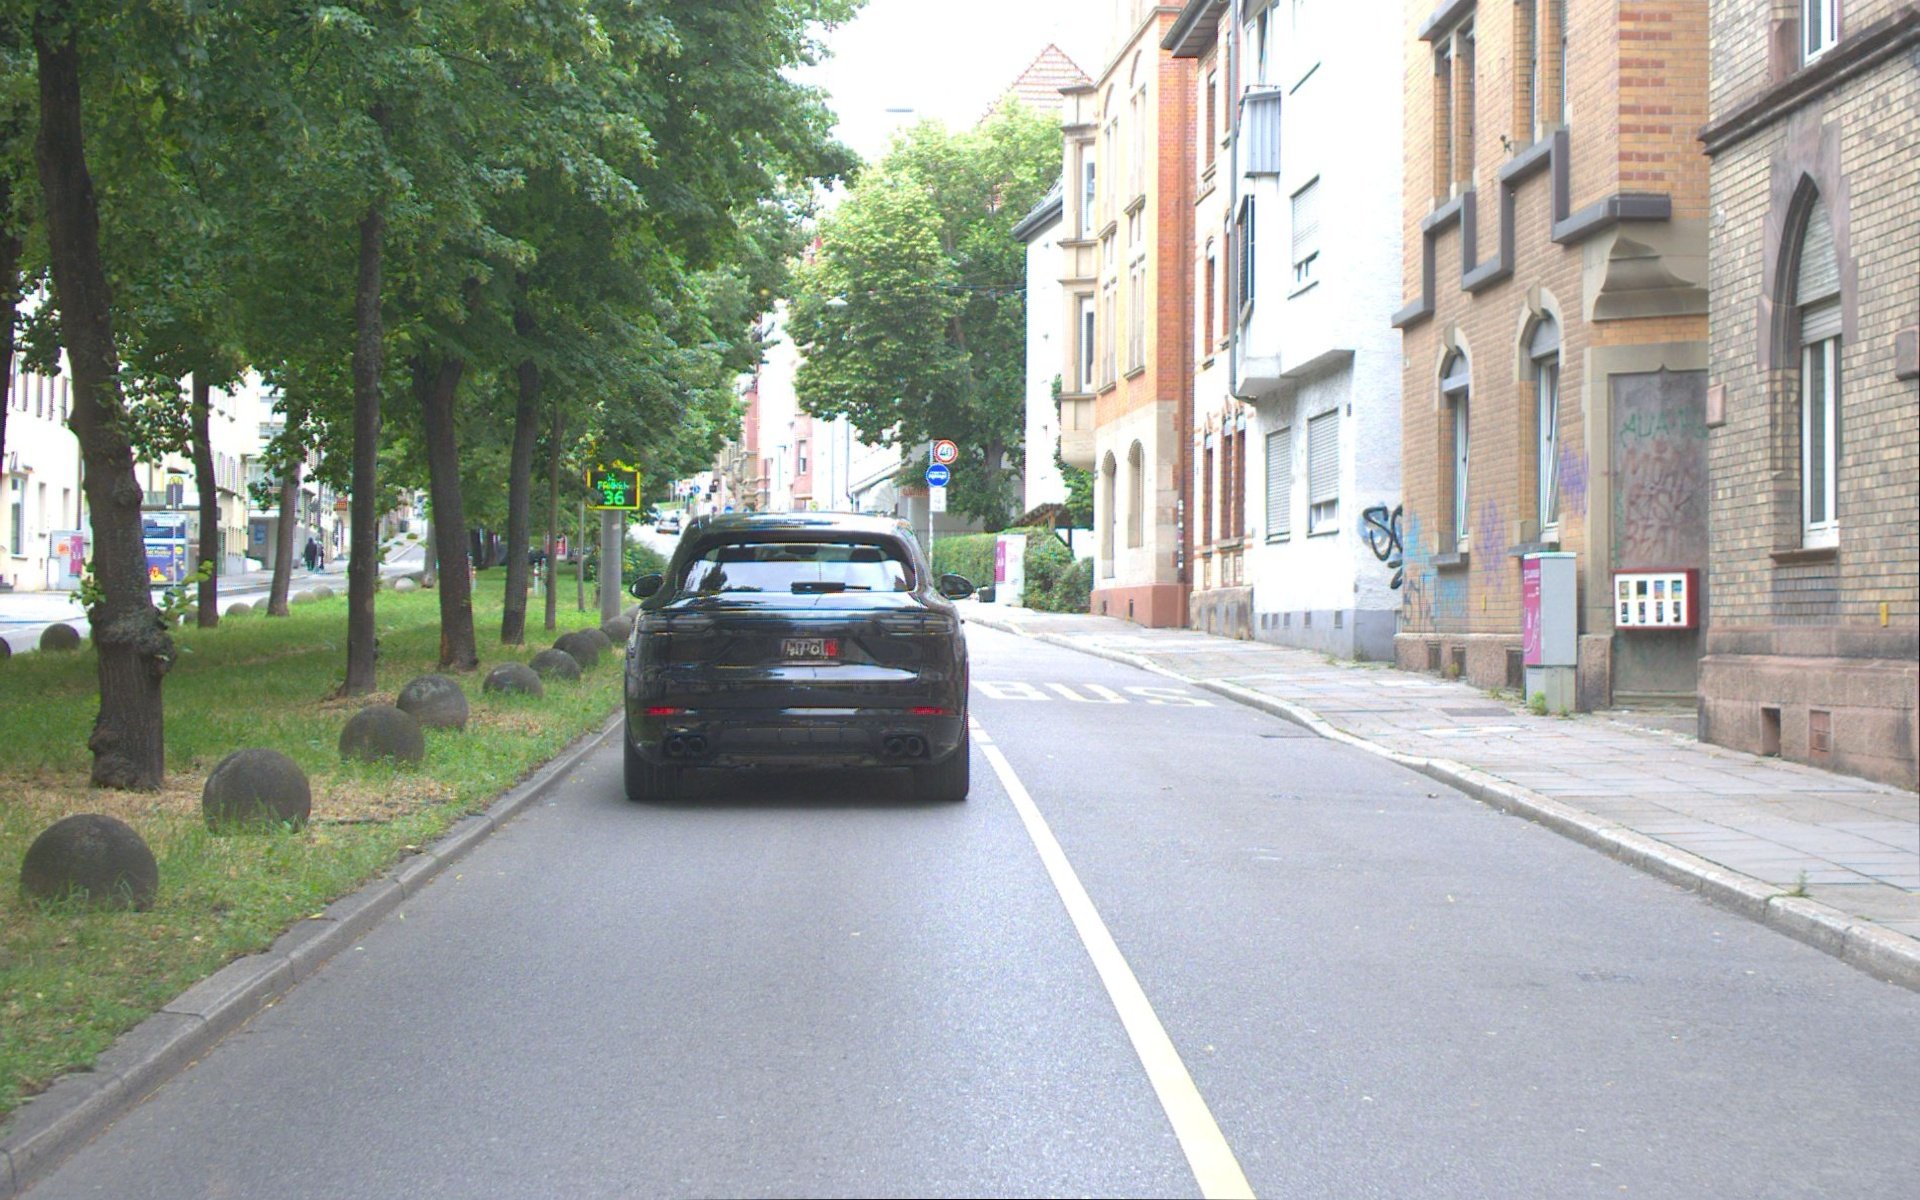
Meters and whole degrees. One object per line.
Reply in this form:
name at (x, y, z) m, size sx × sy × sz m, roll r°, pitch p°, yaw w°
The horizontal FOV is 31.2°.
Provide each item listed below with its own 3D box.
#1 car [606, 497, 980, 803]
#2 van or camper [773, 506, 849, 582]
car at (-1.118, 0.260, 20.861) m, size 1.903 × 1.660 × 4.136 m, roll 1°, pitch 0°, yaw -8°
van or camper at (-5.760, -2.113, 131.792) m, size 2.479 × 2.793 × 7.239 m, roll 1°, pitch 0°, yaw -6°
